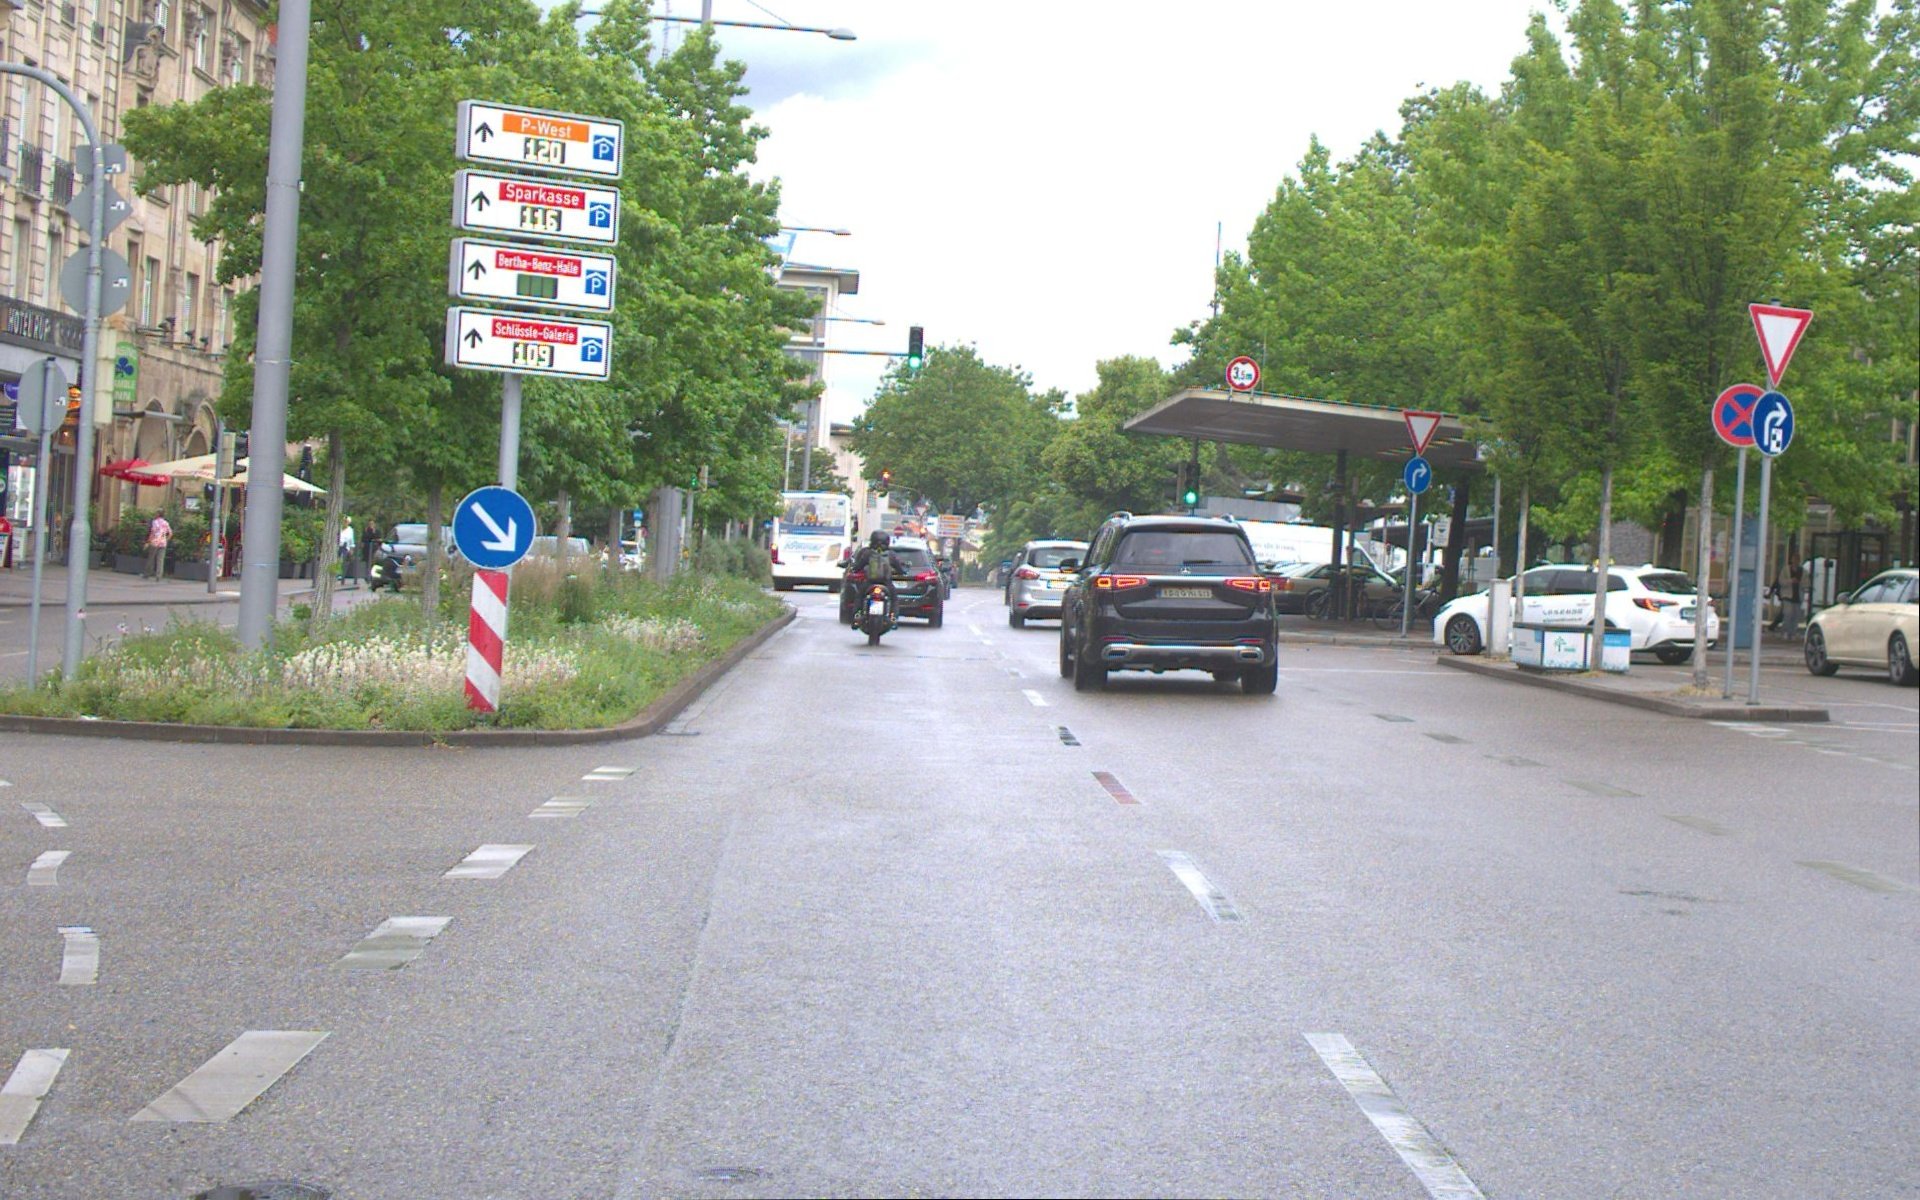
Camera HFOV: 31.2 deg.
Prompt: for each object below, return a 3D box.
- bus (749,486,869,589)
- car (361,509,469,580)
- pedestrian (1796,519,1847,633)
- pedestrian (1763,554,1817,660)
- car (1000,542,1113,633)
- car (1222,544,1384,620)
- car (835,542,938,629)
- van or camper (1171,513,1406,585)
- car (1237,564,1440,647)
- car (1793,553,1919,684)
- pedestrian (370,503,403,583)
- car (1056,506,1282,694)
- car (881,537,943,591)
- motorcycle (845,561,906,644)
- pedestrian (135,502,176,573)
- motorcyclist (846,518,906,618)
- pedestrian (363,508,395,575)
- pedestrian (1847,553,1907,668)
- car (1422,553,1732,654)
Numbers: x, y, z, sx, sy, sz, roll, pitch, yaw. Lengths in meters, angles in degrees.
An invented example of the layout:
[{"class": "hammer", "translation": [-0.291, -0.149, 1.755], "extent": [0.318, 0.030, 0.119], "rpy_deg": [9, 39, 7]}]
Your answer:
[{"class": "bus", "translation": [-5.080, -2.116, 117.006], "extent": [3.760, 3.198, 15.528], "rpy_deg": [1, 1, -2]}, {"class": "car", "translation": [-12.162, -1.244, 76.930], "extent": [1.771, 1.525, 4.079], "rpy_deg": [1, 1, 0]}, {"class": "pedestrian", "translation": [18.470, -0.523, 73.737], "extent": [0.843, 2.403, 0.862], "rpy_deg": [1, 1, 1]}, {"class": "pedestrian", "translation": [15.918, 0.135, 65.946], "extent": [0.769, 2.007, 0.828], "rpy_deg": [1, 1, -2]}, {"class": "car", "translation": [1.702, -0.253, 62.093], "extent": [1.851, 1.562, 4.000], "rpy_deg": [1, 1, -1]}, {"class": "car", "translation": [9.635, -0.518, 96.657], "extent": [3.986, 2.007, 2.001], "rpy_deg": [1, 1, -20]}, {"class": "car", "translation": [-1.264, -0.281, 60.137], "extent": [1.708, 1.443, 4.000], "rpy_deg": [1, 1, -1]}, {"class": "van or camper", "translation": [9.850, -1.516, 102.966], "extent": [6.753, 2.007, 2.385], "rpy_deg": [1, 0, -26]}, {"class": "car", "translation": [9.052, 0.136, 82.287], "extent": [4.335, 1.851, 2.001], "rpy_deg": [1, 1, -20]}, {"class": "car", "translation": [12.608, 0.224, 44.307], "extent": [1.993, 1.594, 4.824], "rpy_deg": [1, 1, -7]}, {"class": "pedestrian", "translation": [-14.636, -1.463, 87.794], "extent": [0.757, 2.007, 0.833], "rpy_deg": [1, 1, -7]}, {"class": "car", "translation": [2.110, -0.046, 36.011], "extent": [1.993, 1.800, 4.690], "rpy_deg": [1, 1, -1]}, {"class": "car", "translation": [-1.372, -1.034, 98.288], "extent": [1.708, 1.469, 4.000], "rpy_deg": [1, 1, -1]}, {"class": "motorcycle", "translation": [-1.136, 0.016, 46.588], "extent": [0.766, 1.073, 2.175], "rpy_deg": [2, 1, 0]}, {"class": "pedestrian", "translation": [-17.231, -1.335, 73.640], "extent": [0.661, 1.505, 0.519], "rpy_deg": [1, 1, -38]}, {"class": "motorcyclist", "translation": [-1.133, -0.437, 46.680], "extent": [0.764, 1.327, 0.866], "rpy_deg": [2, 1, 0]}, {"class": "pedestrian", "translation": [-14.849, -1.491, 87.837], "extent": [0.674, 1.696, 0.634], "rpy_deg": [1, 1, -1]}, {"class": "pedestrian", "translation": [16.313, 0.181, 61.149], "extent": [0.769, 2.007, 0.828], "rpy_deg": [1, 1, -2]}, {"class": "car", "translation": [9.114, 0.029, 51.084], "extent": [1.774, 1.380, 4.366], "rpy_deg": [0, 1, -41]}]
